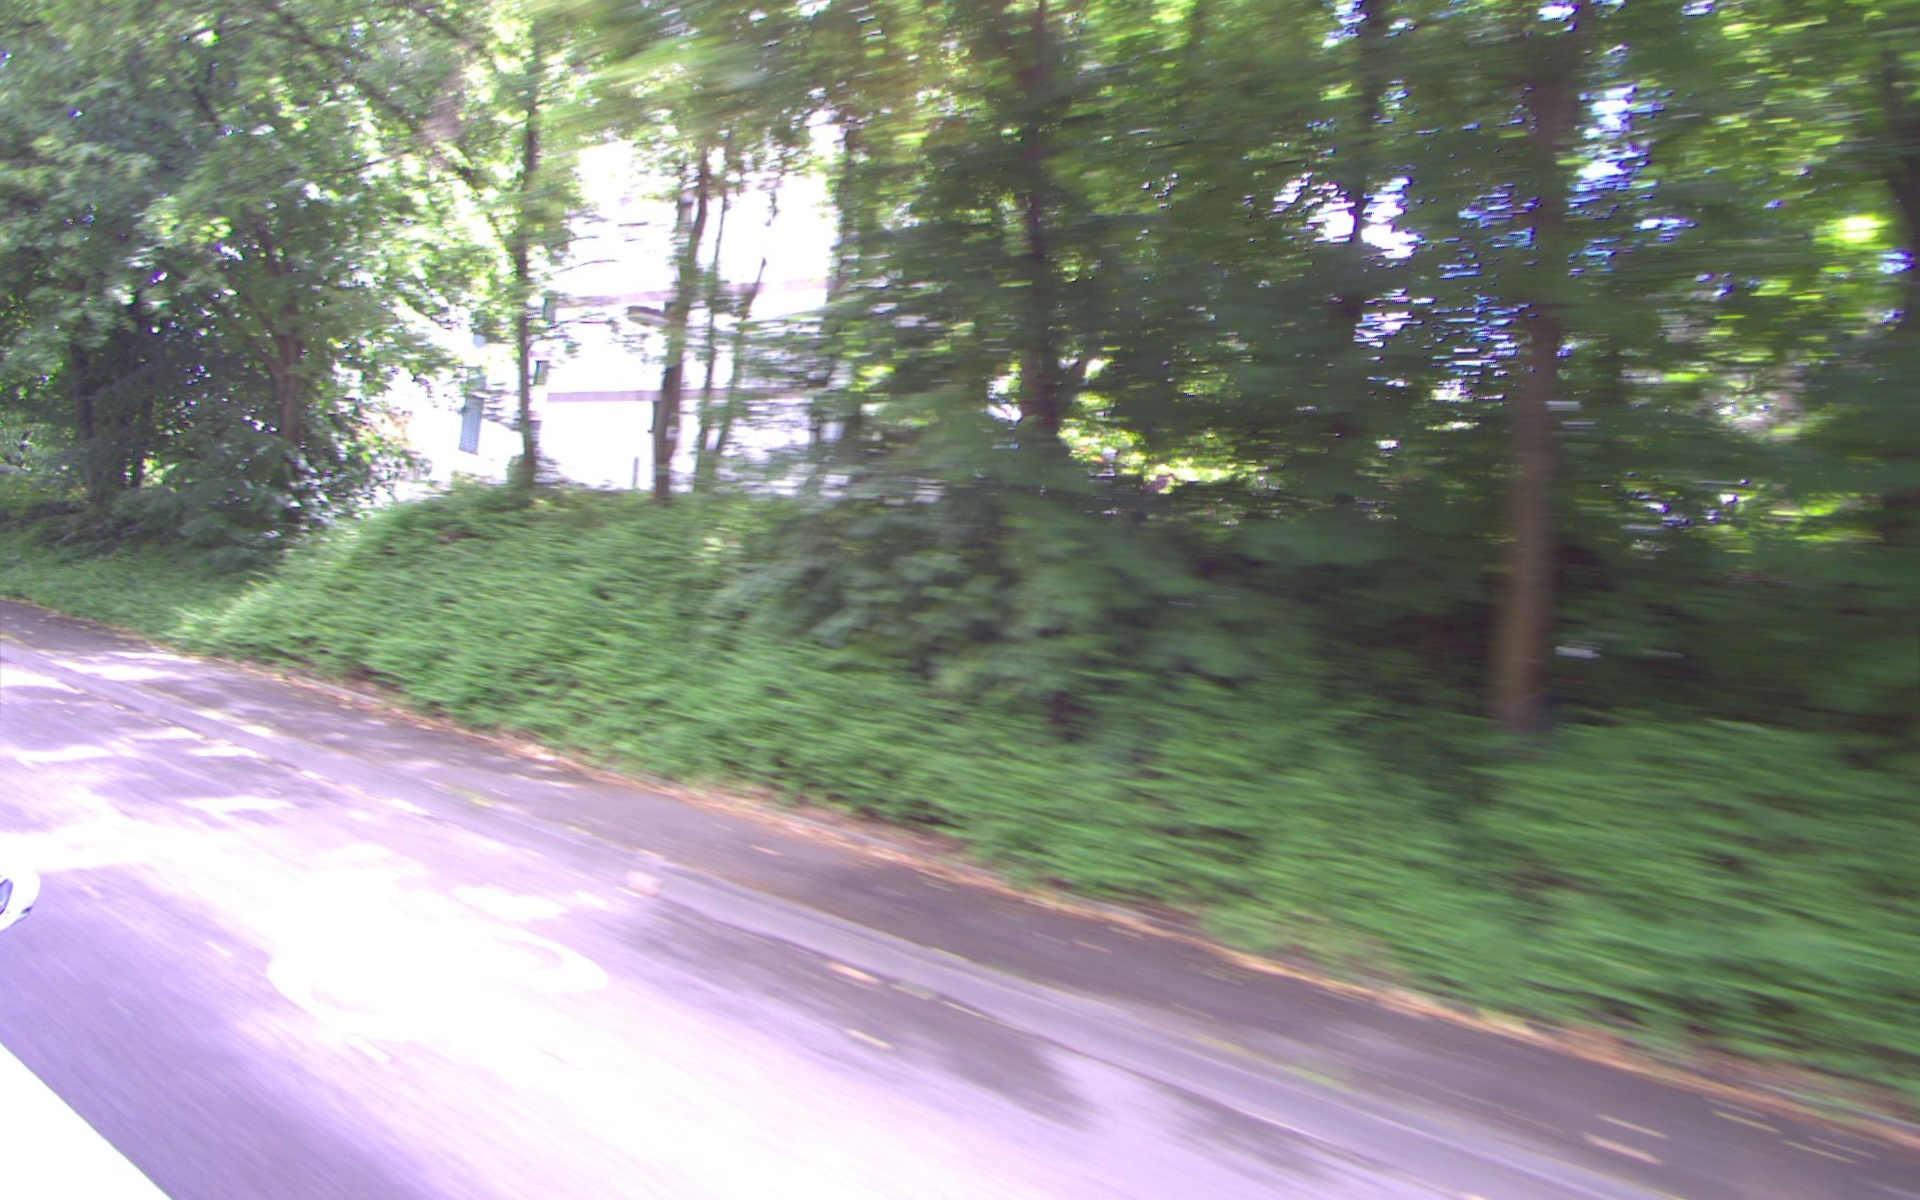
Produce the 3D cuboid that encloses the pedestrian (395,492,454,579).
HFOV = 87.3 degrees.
[{"bbox_3d":[-13.471,-1.623,25.311,0.867,2.037,0.758,7,0,31],"label":"pedestrian"}]
